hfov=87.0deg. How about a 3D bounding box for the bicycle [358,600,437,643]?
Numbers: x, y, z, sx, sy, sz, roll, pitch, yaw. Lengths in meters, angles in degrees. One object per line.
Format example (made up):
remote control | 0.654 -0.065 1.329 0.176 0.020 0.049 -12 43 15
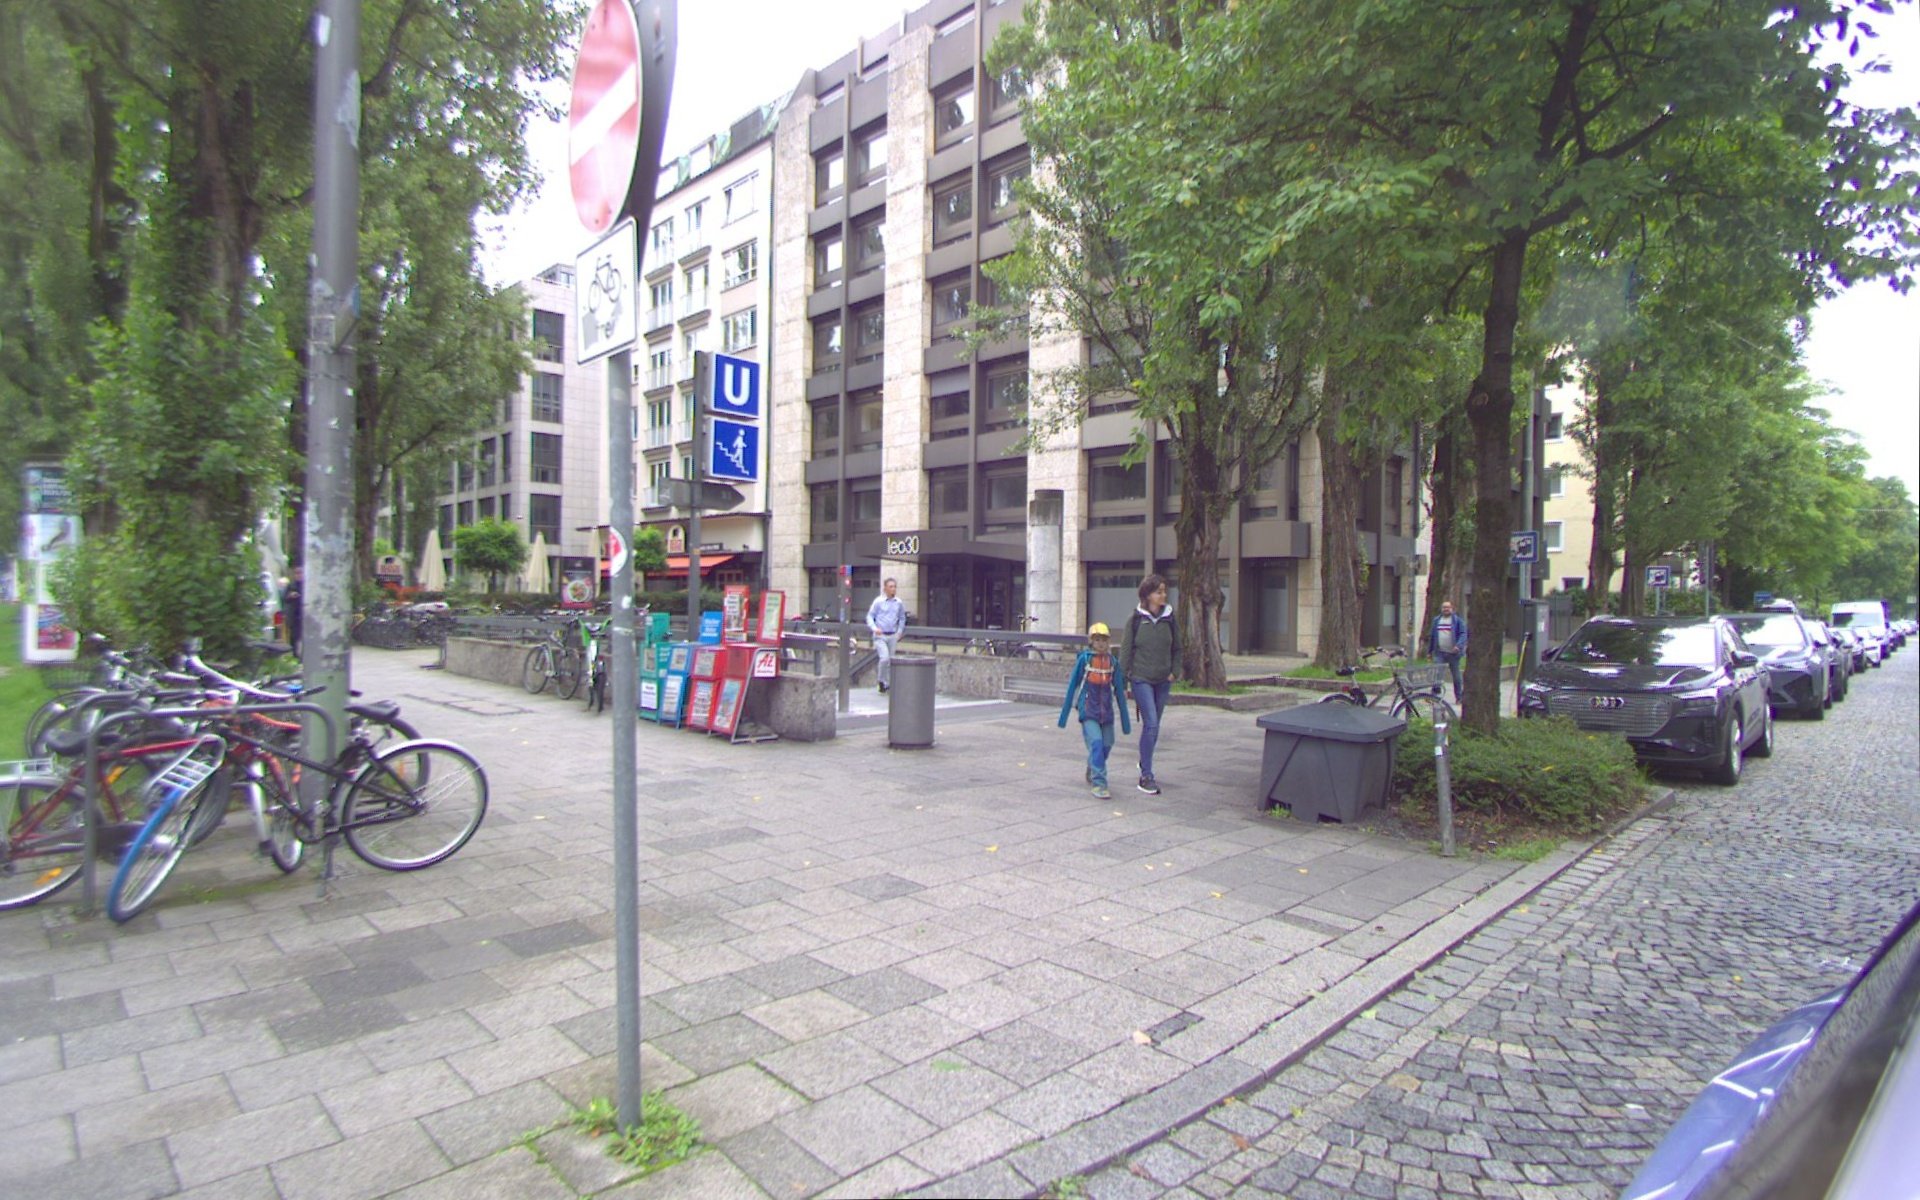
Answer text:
bicycle | -15.685 0.592 28.237 1.837 1.174 0.586 1 -1 -43

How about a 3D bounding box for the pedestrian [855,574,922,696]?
pedestrian | -1.057 0.502 14.996 0.701 1.746 0.668 1 -1 -45

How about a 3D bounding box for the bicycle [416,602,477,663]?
bicycle | -10.494 0.634 20.656 0.578 1.174 1.980 1 0 -43

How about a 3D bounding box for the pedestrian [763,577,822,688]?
pedestrian | -2.670 0.497 16.065 0.599 1.701 0.846 1 0 -35

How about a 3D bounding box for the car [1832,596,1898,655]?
car | 40.630 1.103 45.388 2.081 2.464 5.523 -1 -1 43

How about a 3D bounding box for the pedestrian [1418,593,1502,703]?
pedestrian | 8.249 0.768 16.708 0.893 1.736 0.870 1 0 -26

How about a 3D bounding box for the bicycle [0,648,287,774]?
bicycle | -6.436 0.834 8.018 1.801 0.828 0.471 0 0 -40

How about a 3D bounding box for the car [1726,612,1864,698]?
car | 17.776 1.071 21.468 1.993 1.603 4.274 0 -1 43

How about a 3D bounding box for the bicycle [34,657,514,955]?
bicycle | -3.157 0.862 4.855 0.474 1.064 1.849 1 0 40

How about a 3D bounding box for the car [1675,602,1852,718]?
car | 13.870 0.907 17.359 2.012 1.722 4.599 0 -1 43

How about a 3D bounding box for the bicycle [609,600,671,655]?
bicycle | -7.221 0.599 22.814 0.578 1.174 1.865 1 0 -43

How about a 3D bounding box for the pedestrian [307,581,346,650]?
pedestrian | -15.335 0.361 24.479 0.686 1.626 0.832 1 -1 -39

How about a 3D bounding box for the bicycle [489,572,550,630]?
bicycle | -9.232 0.011 21.186 0.578 1.174 1.865 1 0 -43

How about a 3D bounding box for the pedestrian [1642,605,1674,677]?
pedestrian | 16.290 0.941 23.628 0.558 1.649 0.489 1 -1 -42

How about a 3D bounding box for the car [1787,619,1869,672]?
car | 25.366 1.294 29.543 1.600 1.449 3.505 -2 -2 44

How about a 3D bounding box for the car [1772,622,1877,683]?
car | 22.175 1.300 25.908 1.719 1.408 4.137 -3 -3 44

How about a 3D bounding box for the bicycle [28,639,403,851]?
bicycle | -4.556 0.820 6.313 1.845 1.064 0.475 -1 1 -43

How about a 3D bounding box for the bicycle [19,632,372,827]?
bicycle | -5.192 0.811 6.988 0.512 1.119 1.899 0 0 45

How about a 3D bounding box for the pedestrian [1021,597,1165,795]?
pedestrian | 1.031 0.706 7.932 0.802 1.437 0.772 1 0 -29

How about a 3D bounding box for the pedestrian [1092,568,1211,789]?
pedestrian | 1.569 0.612 8.346 0.650 1.722 0.691 1 0 -29

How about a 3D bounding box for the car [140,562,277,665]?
car | -15.966 0.230 21.377 1.784 1.920 5.192 1 0 -43

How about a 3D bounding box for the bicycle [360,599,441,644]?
bicycle | -15.312 0.588 27.736 1.837 1.174 0.586 2 0 -43

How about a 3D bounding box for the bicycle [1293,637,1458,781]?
bicycle | 3.778 0.932 9.133 1.841 1.151 0.476 1 0 -36

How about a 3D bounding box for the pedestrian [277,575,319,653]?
pedestrian | -15.884 0.338 24.273 0.737 1.826 0.842 1 -1 -39

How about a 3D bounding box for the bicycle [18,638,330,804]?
bicycle | -5.832 0.846 7.615 1.801 1.051 0.513 0 0 -40

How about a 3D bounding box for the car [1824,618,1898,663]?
car | 32.380 1.419 36.391 1.861 1.518 3.814 -1 -1 42

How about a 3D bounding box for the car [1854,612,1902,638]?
car | 53.240 1.423 58.711 1.992 1.405 3.814 -1 -1 42

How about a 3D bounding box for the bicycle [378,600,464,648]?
bicycle | -13.782 0.598 25.903 1.837 1.174 0.586 1 0 -43

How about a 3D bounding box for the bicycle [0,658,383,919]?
bicycle | -3.883 0.843 4.871 1.844 1.064 0.475 2 -1 -43

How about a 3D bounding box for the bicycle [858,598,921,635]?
bicycle | -2.306 0.550 33.386 0.646 1.170 2.209 0 0 45

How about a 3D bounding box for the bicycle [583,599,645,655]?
bicycle | -7.663 0.582 22.385 0.578 1.174 1.865 1 0 -43

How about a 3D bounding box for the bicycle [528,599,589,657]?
bicycle | -8.560 0.569 21.545 0.578 1.174 1.865 1 0 -43

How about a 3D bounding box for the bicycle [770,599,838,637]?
bicycle | -4.979 0.557 32.452 0.646 1.170 2.209 0 0 45

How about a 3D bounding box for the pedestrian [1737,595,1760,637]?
pedestrian | 29.829 0.585 38.290 0.643 1.557 0.698 0 -1 42

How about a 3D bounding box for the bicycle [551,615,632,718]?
bicycle | -4.718 0.802 12.902 0.576 1.174 1.870 1 0 -32

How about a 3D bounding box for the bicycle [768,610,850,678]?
bicycle | -2.847 0.792 18.959 0.578 1.174 1.865 1 0 -43

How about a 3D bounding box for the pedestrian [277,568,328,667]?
pedestrian | -12.645 0.328 19.459 0.688 1.864 0.705 1 0 -41

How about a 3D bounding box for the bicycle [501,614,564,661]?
bicycle | -11.518 0.984 27.255 1.855 1.174 0.581 1 0 32

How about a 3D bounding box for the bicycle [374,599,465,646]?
bicycle | -14.110 0.571 26.454 1.997 1.174 0.586 1 0 -43

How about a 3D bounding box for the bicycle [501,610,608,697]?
bicycle | -5.942 0.744 14.786 1.859 1.174 0.580 1 0 38

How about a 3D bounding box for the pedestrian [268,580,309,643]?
pedestrian | -20.348 0.341 30.666 0.902 1.890 1.013 1 -1 -39

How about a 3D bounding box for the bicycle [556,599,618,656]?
bicycle | -8.109 0.575 21.964 0.578 1.174 1.865 1 0 -43

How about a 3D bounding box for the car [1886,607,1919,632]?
car | 66.810 1.340 71.471 1.992 1.711 3.814 -1 -1 42

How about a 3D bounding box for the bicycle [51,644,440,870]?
bicycle | -4.158 0.844 6.016 1.845 1.064 0.475 -1 1 -43

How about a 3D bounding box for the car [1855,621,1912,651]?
car | 45.391 1.733 49.783 1.992 1.405 3.814 -1 -1 42

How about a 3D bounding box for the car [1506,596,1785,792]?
car | 7.636 0.844 11.103 1.920 1.722 4.135 0 -1 43

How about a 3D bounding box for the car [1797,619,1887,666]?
car | 28.593 1.336 32.771 1.993 1.405 3.812 -1 -1 44

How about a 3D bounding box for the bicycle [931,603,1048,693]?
bicycle | 0.432 0.712 15.730 0.709 1.293 1.865 1 0 -43
